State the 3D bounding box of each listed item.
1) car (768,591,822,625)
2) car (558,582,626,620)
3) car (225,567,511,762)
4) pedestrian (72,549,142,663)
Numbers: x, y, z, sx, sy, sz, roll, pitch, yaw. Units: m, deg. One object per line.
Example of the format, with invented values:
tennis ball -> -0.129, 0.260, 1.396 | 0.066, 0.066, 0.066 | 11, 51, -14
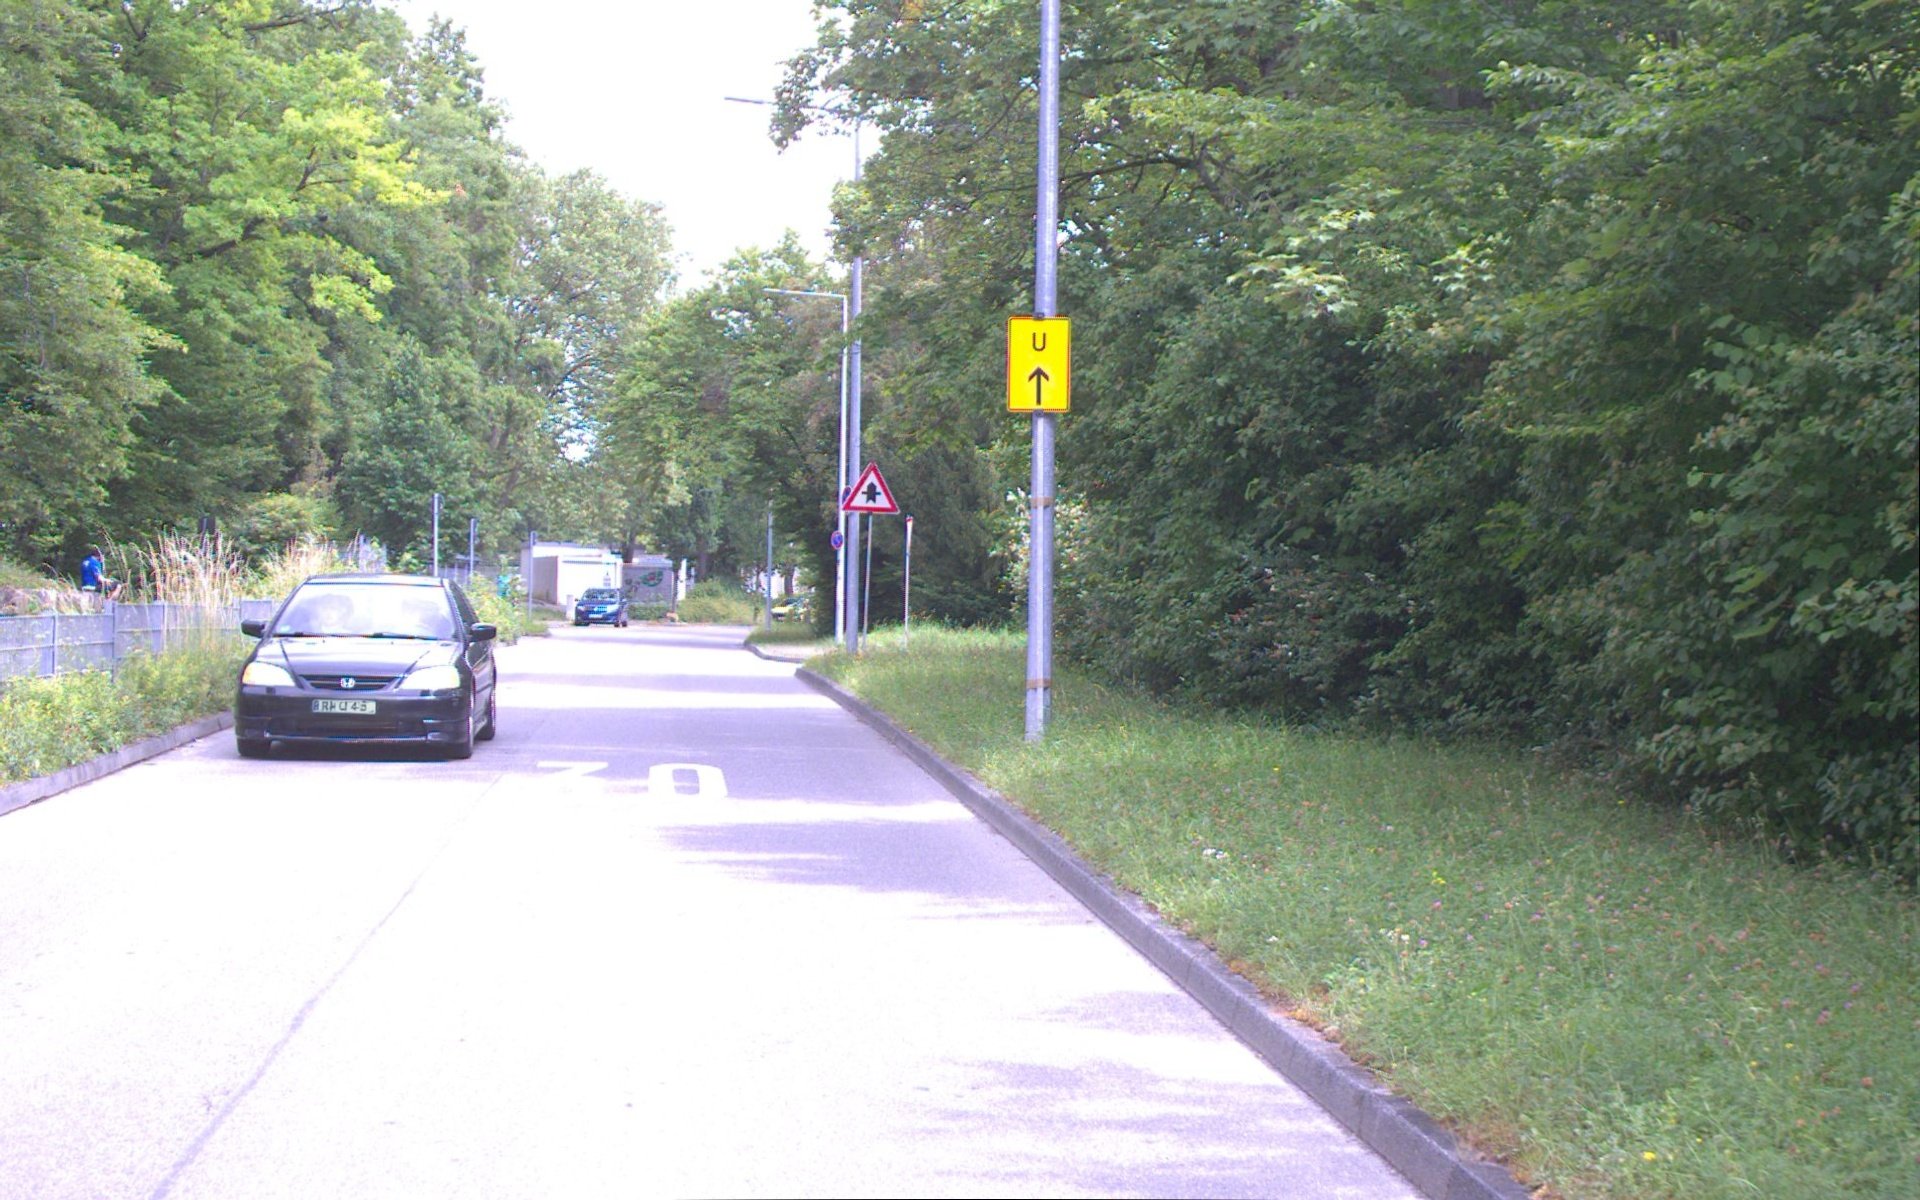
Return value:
car -> -8.179, 0.413, 170.764 | 1.860, 1.487, 3.998 | -1, -2, 10
car -> -14.198, 0.030, 132.909 | 1.979, 1.379, 4.000 | 2, 0, 3
car -> -4.461, 0.437, 26.395 | 1.692, 1.344, 4.095 | 1, 1, -3
pedestrian -> -15.405, 0.119, 62.062 | 0.877, 2.007, 0.865 | -3, -3, 41
